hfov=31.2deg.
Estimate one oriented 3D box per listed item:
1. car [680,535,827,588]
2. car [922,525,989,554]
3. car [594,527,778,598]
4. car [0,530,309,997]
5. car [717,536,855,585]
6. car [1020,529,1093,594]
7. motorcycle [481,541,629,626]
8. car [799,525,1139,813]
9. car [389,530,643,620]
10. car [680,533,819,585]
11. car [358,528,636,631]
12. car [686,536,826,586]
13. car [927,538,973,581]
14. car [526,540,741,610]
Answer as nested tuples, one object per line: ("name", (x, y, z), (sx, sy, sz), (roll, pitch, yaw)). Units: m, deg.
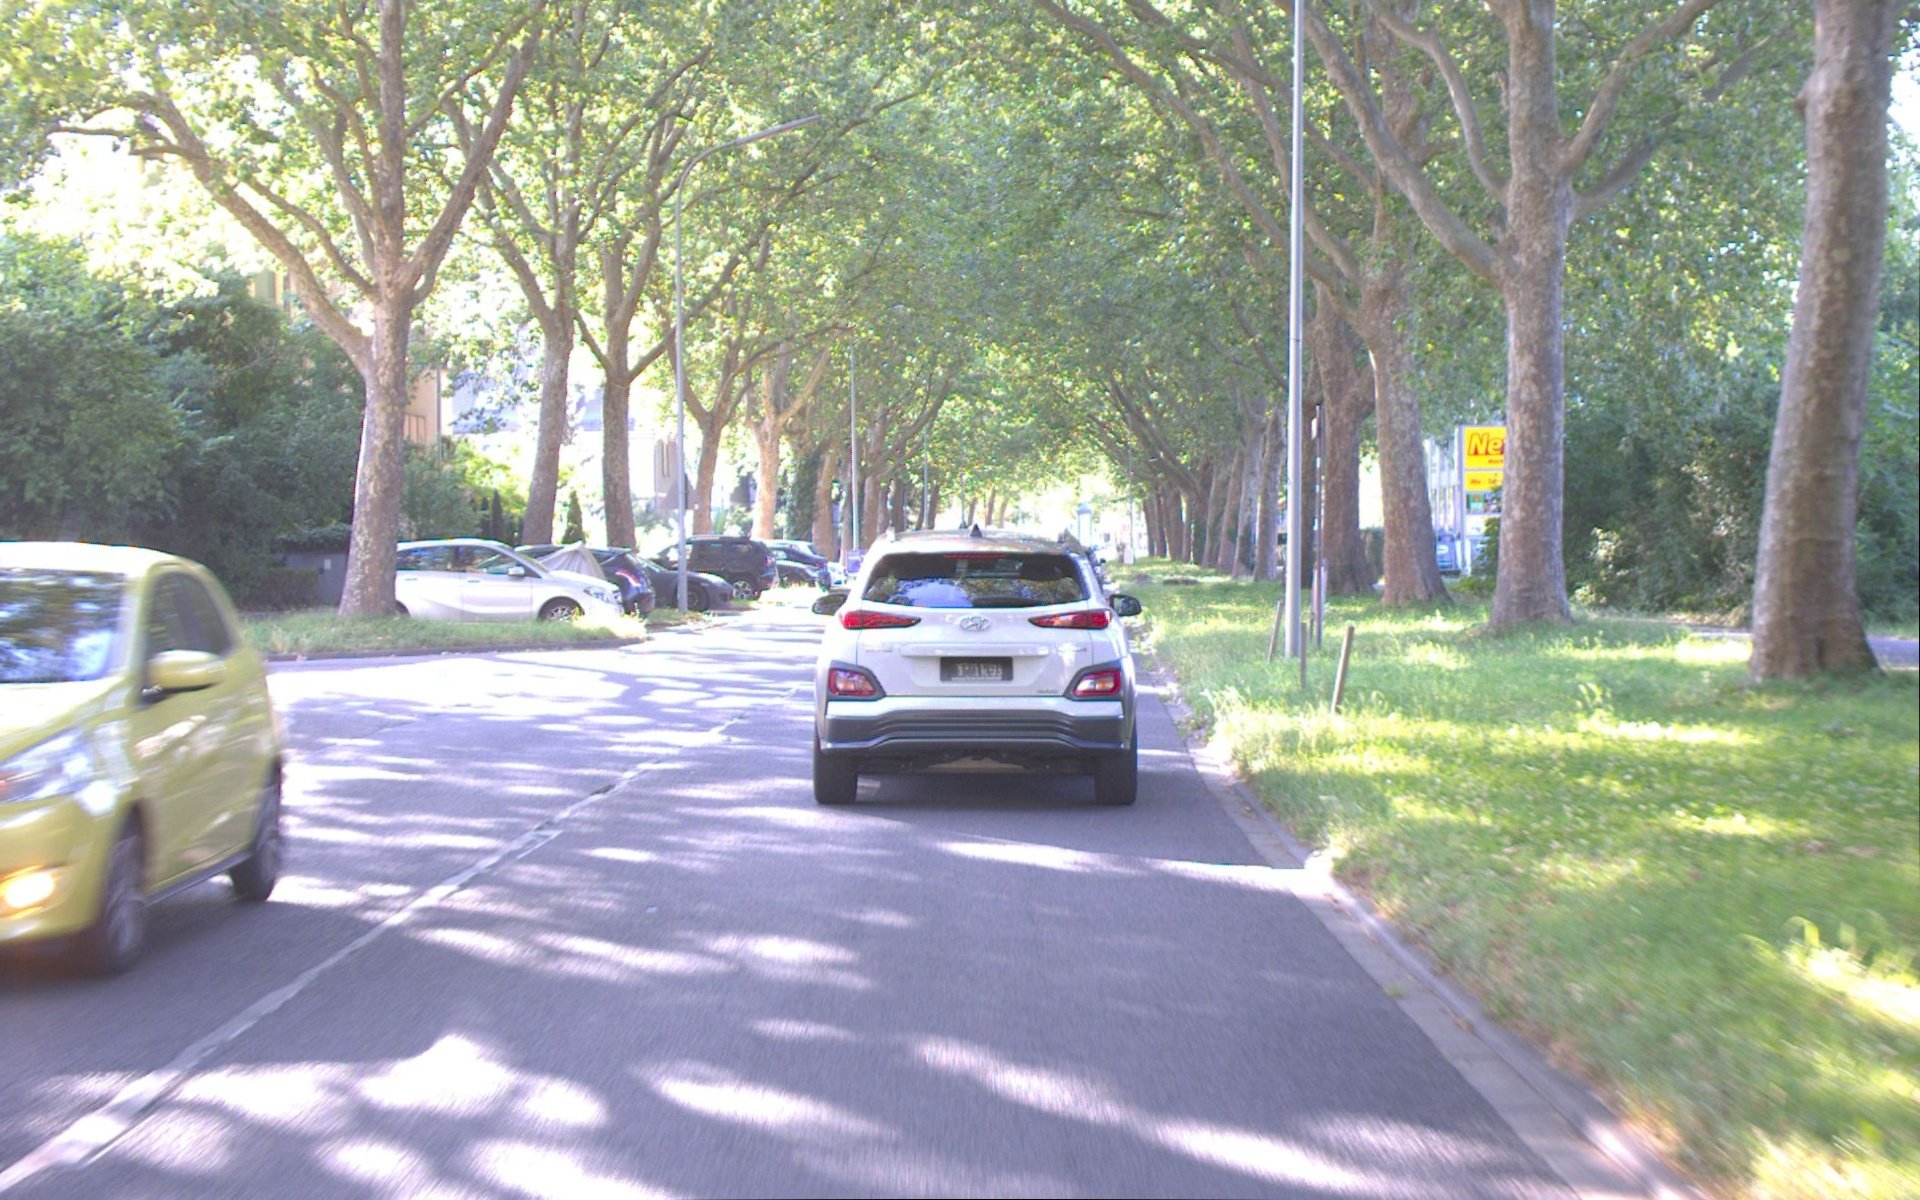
("car", (-5.789, -1.093, 96.601), (3.987, 1.465, 1.780), (0, 1, 1))
("car", (-0.284, -3.696, 210.676), (3.986, 1.766, 2.000), (1, 0, -2))
("car", (-6.599, -0.911, 83.020), (4.244, 1.674, 1.671), (0, 1, 2))
("car", (-3.742, 0.494, 13.031), (1.784, 1.507, 3.838), (0, 1, 1))
("car", (-5.261, -1.209, 104.147), (3.987, 1.465, 1.809), (0, 1, 4))
("car", (2.574, -1.031, 91.963), (1.676, 1.690, 3.746), (0, 1, -3))
("motorcycle", (-6.671, -0.273, 56.671), (2.385, 1.383, 0.648), (0, 1, -3))
("car", (0.001, 0.334, 20.550), (1.835, 1.550, 4.000), (0, 1, -1))
("car", (-7.615, -0.445, 59.270), (4.160, 1.501, 1.802), (0, 1, -1))
("car", (-6.212, -1.225, 101.795), (3.987, 1.515, 1.809), (0, 1, 1))
("car", (-7.262, -0.330, 54.243), (4.183, 1.579, 2.000), (0, 1, -2))
("car", (-5.845, -1.128, 98.832), (3.986, 1.419, 1.809), (0, 1, -2))
("car", (-0.329, -1.384, 117.245), (1.535, 1.454, 3.185), (0, 1, 0))
("car", (-6.702, -0.518, 70.916), (4.240, 1.348, 1.741), (-1, 1, 1))
